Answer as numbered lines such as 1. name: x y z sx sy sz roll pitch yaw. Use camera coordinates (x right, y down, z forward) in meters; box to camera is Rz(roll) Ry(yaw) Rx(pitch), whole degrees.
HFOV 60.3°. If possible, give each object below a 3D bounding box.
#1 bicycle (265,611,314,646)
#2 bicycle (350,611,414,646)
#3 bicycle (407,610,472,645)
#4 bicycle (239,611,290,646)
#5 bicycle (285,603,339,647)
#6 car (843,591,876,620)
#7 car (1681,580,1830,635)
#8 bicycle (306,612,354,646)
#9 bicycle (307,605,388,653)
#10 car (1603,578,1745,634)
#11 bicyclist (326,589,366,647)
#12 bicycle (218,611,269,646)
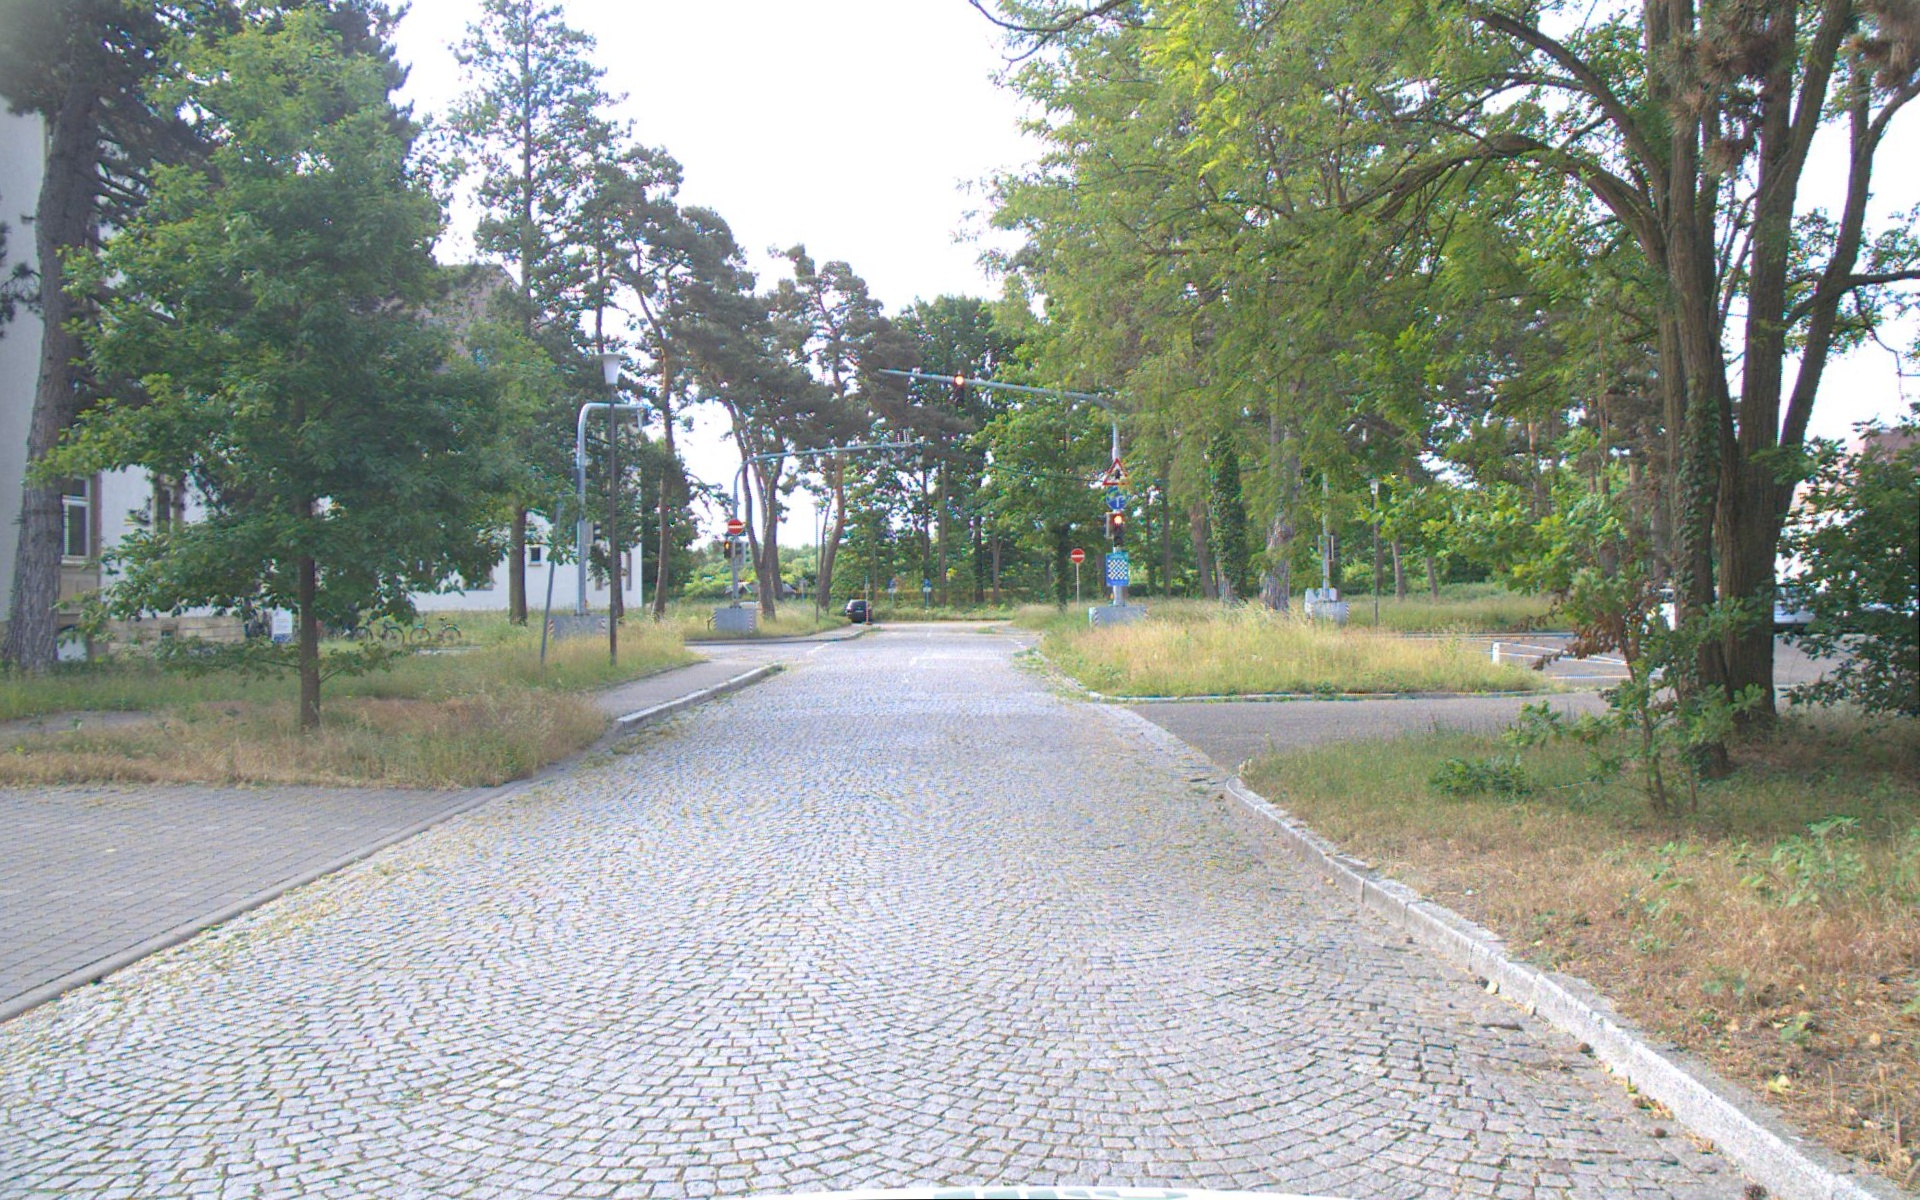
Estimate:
1. bicycle: -22.359 0.944 55.196 0.721 1.095 2.273 -1 0 0
2. bicycle: -18.735 0.906 53.617 1.818 1.095 0.738 -1 0 1
3. bicycle: -16.884 0.895 53.685 1.818 1.095 0.831 -1 0 1
4. bicycle: -22.987 0.925 54.693 0.721 1.095 2.273 -1 0 0
5. bicycle: -21.573 0.802 55.099 0.721 1.410 2.711 -1 0 0
6. car: -6.753 0.375 111.176 2.014 1.878 3.999 -1 0 -2
7. car: 23.139 0.250 48.292 1.954 1.507 4.421 -1 -1 -4
8. bicycle: -20.838 0.944 54.755 0.721 1.095 2.273 -1 0 0
9. bicycle: -18.668 0.889 50.455 2.136 1.411 0.938 -1 0 -4
10. car: 20.674 0.216 48.073 1.954 1.507 4.421 -1 -1 -4
11. bicyclist: -18.721 0.550 50.461 0.902 1.727 0.956 -1 -1 -4
12. bicycle: -23.707 0.930 54.754 0.721 1.095 2.273 -1 0 0
